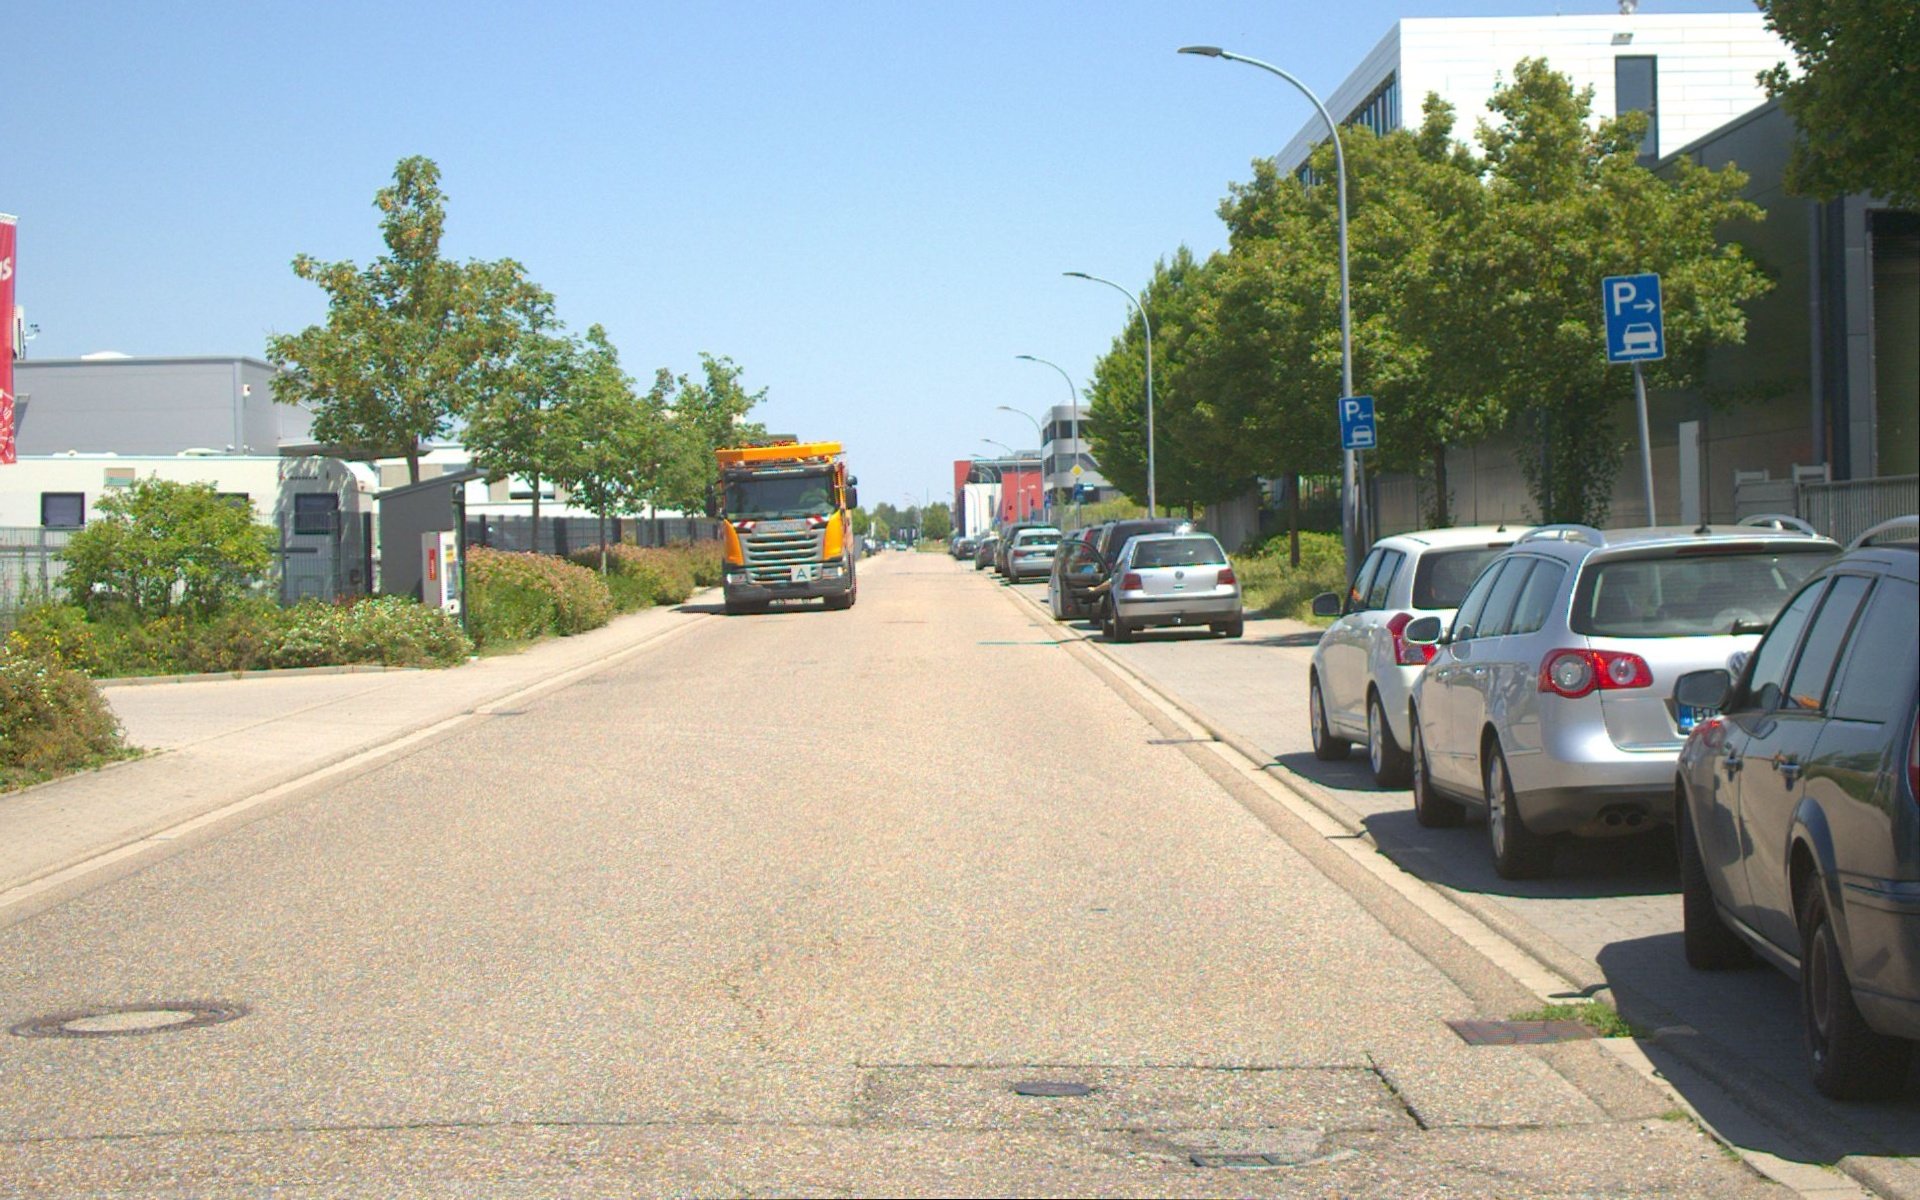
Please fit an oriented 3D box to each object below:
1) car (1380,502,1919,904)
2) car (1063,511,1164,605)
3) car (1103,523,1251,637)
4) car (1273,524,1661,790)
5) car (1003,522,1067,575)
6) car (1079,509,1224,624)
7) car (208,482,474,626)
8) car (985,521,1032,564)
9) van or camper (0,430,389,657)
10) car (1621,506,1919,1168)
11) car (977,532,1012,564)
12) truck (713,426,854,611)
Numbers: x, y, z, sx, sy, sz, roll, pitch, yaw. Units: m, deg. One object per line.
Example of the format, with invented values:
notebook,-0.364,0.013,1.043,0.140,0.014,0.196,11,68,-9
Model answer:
car,3.113,0.383,15.963,1.748,1.556,4.506,-2,1,0
car,2.864,-0.803,64.779,1.722,1.688,3.984,-1,1,0
car,2.930,-0.285,47.010,1.718,1.445,3.646,-2,1,-1
car,3.082,0.288,21.583,1.635,1.464,3.746,-2,1,-3
car,2.031,-1.419,93.996,1.585,1.405,3.500,-1,1,-1
car,2.923,-0.530,53.127,1.678,1.680,4.001,-1,1,-4
car,-11.698,-0.886,65.178,4.714,2.577,2.000,-1,1,-4
car,1.650,-1.957,117.202,1.495,1.405,3.500,-1,1,-1
van or camper,-12.064,-0.783,48.864,7.384,3.027,2.790,-1,1,-1
car,3.093,0.496,10.078,1.709,1.499,4.705,-1,0,4
car,1.581,-2.405,158.350,1.495,1.405,3.500,-1,1,-1
truck,-3.552,-1.682,70.936,2.448,3.501,8.273,-2,1,-1
